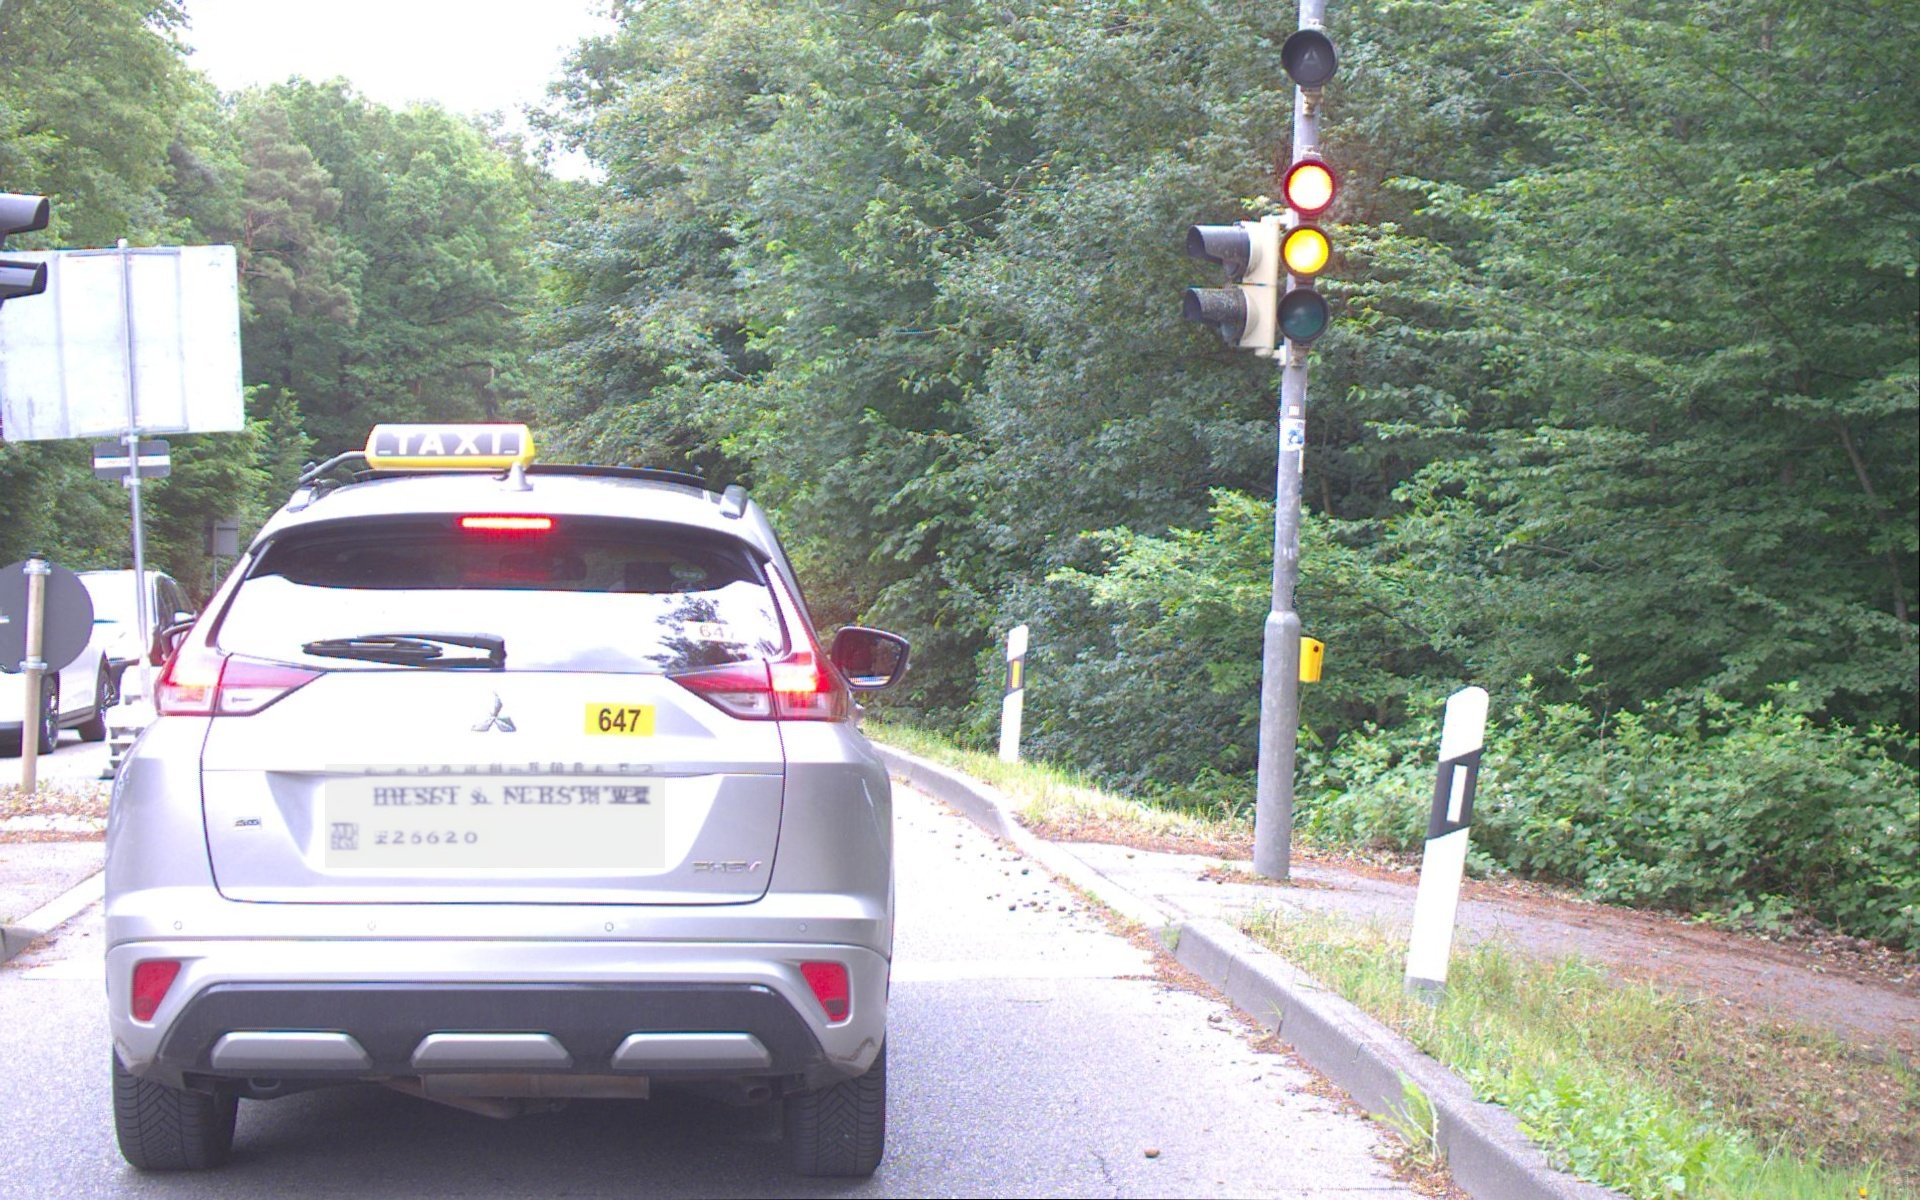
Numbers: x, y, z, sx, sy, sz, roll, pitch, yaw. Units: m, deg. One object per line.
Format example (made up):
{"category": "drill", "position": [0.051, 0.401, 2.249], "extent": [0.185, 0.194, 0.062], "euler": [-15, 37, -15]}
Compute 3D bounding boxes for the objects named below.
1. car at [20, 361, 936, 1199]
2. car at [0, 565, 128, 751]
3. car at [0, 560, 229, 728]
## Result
{"category": "car", "position": [-1.208, 0.387, 9.129], "extent": [1.846, 1.774, 4.001], "euler": [1, 1, -6]}
{"category": "car", "position": [-7.808, 0.434, 27.344], "extent": [1.612, 1.317, 3.722], "euler": [-2, 2, -3]}
{"category": "car", "position": [-8.351, 0.394, 33.510], "extent": [1.811, 1.503, 3.722], "euler": [-2, 0, -3]}
